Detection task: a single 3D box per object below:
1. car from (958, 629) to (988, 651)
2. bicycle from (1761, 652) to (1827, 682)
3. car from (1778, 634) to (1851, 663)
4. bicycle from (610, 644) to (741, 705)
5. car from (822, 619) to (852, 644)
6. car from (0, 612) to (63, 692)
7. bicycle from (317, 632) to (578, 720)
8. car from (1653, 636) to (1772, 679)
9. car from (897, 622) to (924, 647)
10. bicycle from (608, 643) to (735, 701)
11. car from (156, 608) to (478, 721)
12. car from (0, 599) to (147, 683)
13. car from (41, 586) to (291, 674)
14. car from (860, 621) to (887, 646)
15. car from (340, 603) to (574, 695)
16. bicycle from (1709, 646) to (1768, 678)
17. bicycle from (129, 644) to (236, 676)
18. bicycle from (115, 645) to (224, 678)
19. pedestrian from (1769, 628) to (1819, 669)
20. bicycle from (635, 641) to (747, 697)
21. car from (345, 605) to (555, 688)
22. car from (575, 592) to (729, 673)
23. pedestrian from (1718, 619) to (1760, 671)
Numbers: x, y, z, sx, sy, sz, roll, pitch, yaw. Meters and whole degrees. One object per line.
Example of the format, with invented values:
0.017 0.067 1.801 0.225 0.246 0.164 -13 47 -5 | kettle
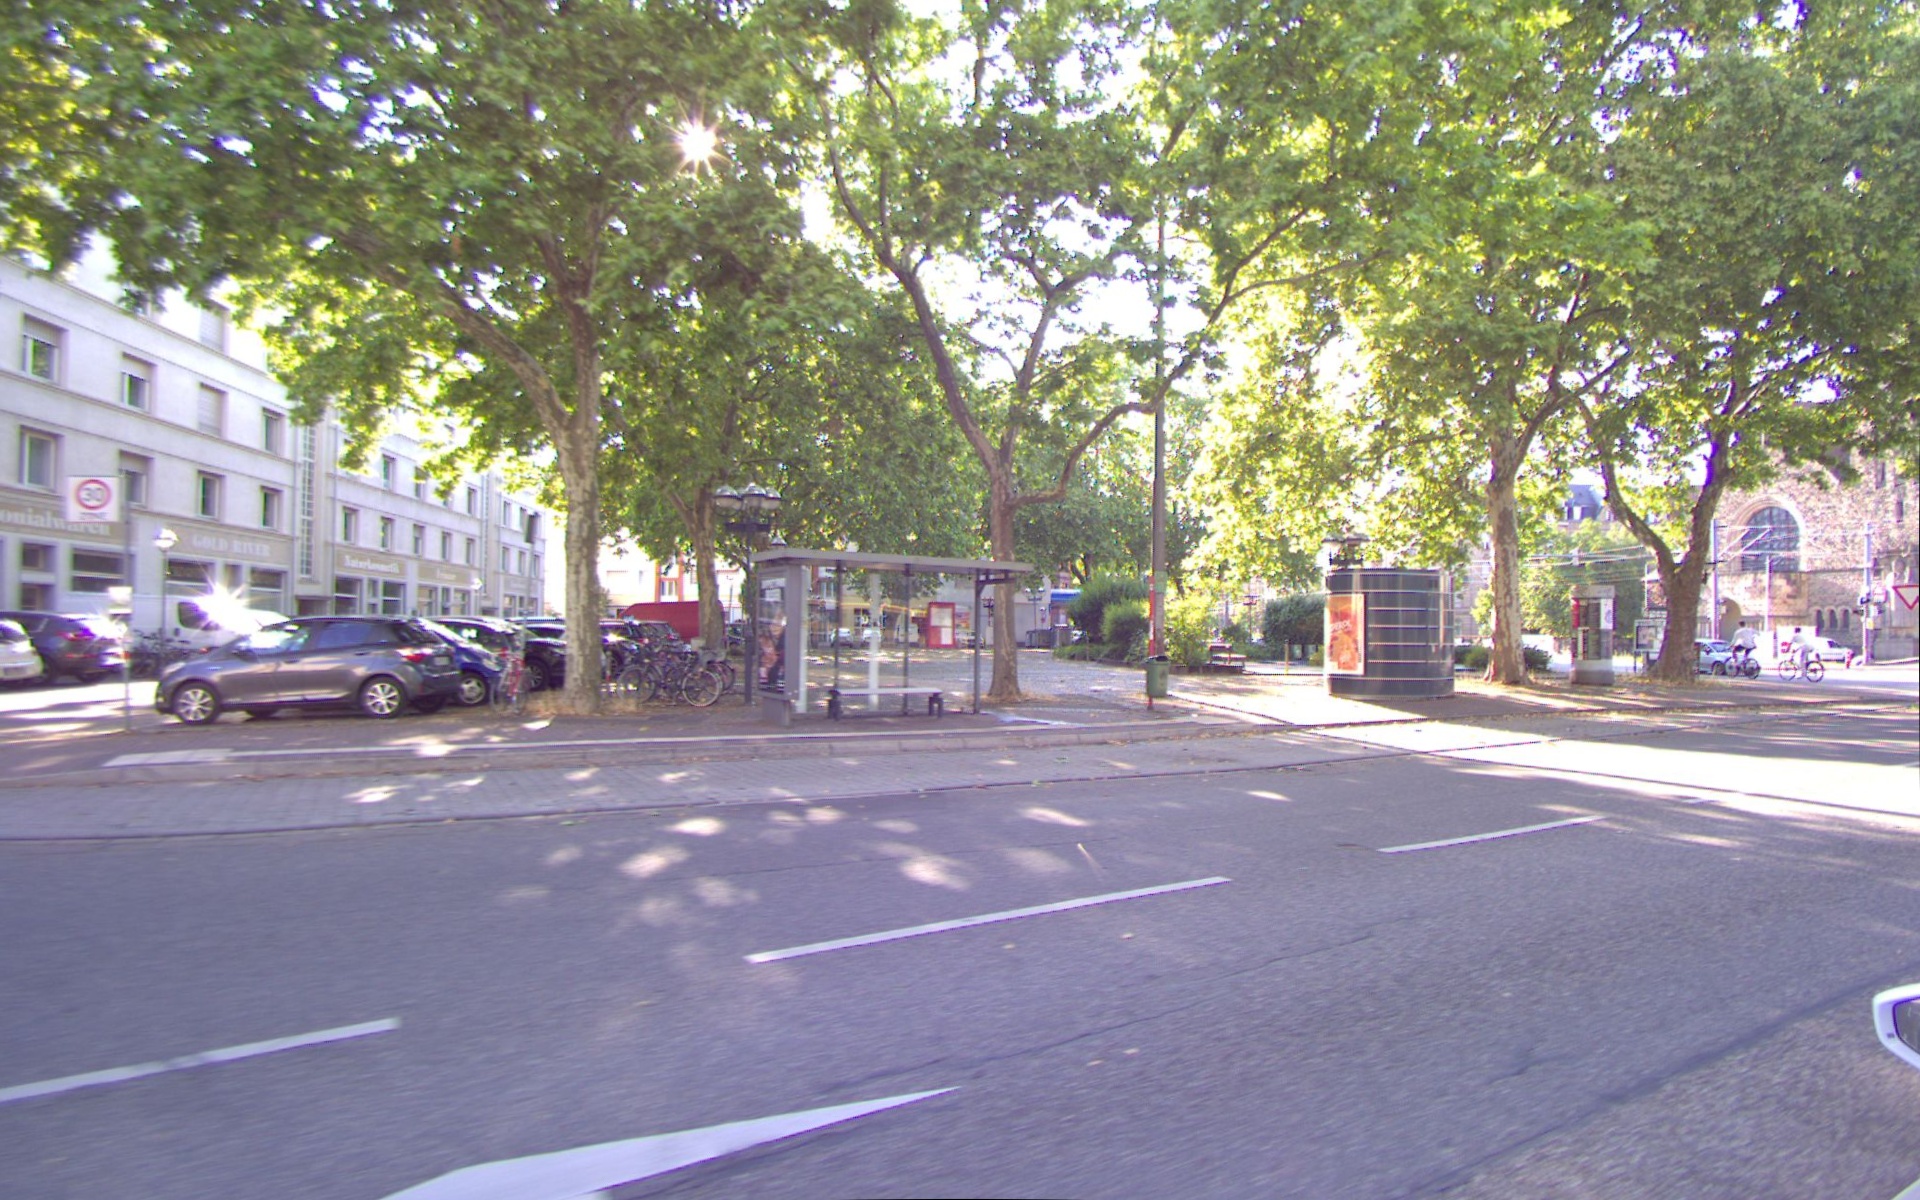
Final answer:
0.958 3.090 78.297 1.962 1.482 3.998 2 0 -4 | car
28.151 2.249 33.928 0.736 0.907 1.787 1 -1 0 | bicycle
62.611 3.568 73.644 3.925 1.862 1.865 2 0 -6 | car
-5.082 1.339 17.968 2.183 1.005 0.549 3 0 -20 | bicycle
-9.432 2.425 77.304 1.962 1.714 3.998 2 0 -4 | car
-20.963 0.968 20.199 3.965 1.567 1.652 3 -3 -12 | car
-7.336 1.097 14.572 3.251 1.161 0.715 3 0 -28 | bicycle
32.826 2.492 43.949 1.819 1.576 3.994 2 0 -8 | car
-3.877 2.671 77.548 1.962 1.714 3.998 2 0 -4 | car
-5.306 1.331 18.508 2.183 1.005 0.549 3 0 -20 | bicycle
-9.356 0.928 14.920 3.583 1.537 1.753 1 -1 -9 | car
-21.023 0.881 22.489 3.965 1.749 1.652 3 -3 -12 | car
-21.790 0.868 27.781 5.079 2.150 1.652 3 -3 -12 | car
-6.658 2.549 77.655 1.962 1.714 3.998 2 0 -4 | car
-9.892 0.980 20.062 3.944 1.639 1.869 3 0 -24 | car
26.776 2.122 34.588 0.644 0.995 1.790 2 0 2 | bicycle
-20.282 1.561 26.240 2.119 0.807 0.586 1 -1 -14 | bicycle
-20.206 1.563 25.726 2.119 0.807 0.586 1 -1 -14 | bicycle
28.118 1.613 33.872 0.776 1.295 1.052 2 0 -1 | pedestrian
-5.542 1.399 20.681 2.172 1.005 0.552 2 0 11 | bicycle
-11.140 1.033 22.270 3.944 1.639 1.869 3 0 -24 | car
-12.073 1.309 39.714 5.460 2.947 1.654 3 -3 -7 | car
26.807 1.523 34.564 0.616 1.730 0.994 2 0 1 | pedestrian
